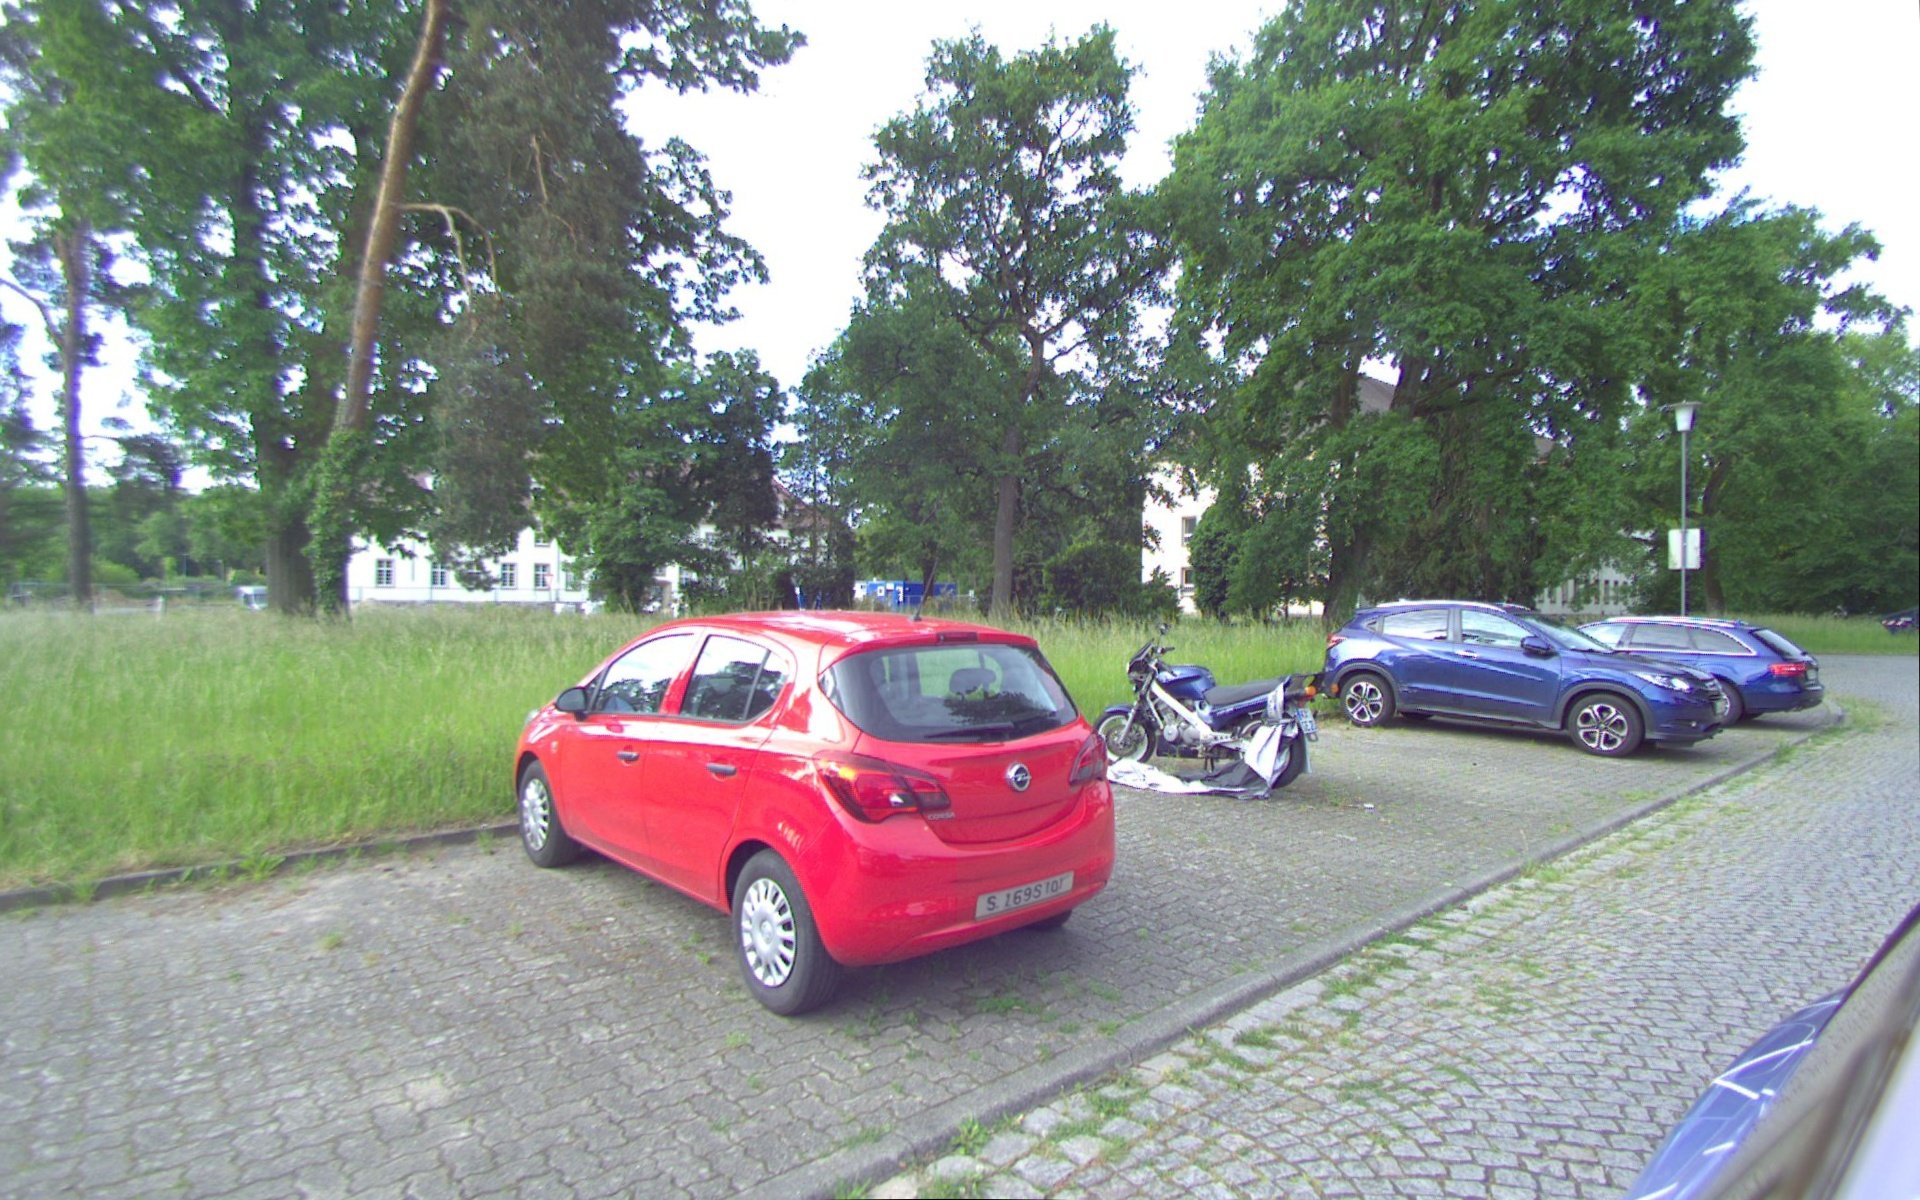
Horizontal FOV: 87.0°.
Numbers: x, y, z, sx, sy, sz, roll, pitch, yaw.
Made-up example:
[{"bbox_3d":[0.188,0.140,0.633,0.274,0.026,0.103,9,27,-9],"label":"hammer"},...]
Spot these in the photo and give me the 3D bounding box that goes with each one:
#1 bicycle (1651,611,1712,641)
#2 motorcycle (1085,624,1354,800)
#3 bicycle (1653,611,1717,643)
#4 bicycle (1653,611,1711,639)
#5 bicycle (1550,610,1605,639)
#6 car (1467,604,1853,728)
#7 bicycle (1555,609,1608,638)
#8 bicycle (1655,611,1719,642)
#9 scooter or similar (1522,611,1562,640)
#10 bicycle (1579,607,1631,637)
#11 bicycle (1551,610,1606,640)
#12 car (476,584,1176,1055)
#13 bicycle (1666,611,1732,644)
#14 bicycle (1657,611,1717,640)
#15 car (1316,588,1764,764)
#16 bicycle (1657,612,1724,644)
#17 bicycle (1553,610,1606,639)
[{"bbox_3d":[29.373,1.059,41.238,1.920,1.185,0.483,-2,-1,27],"label":"bicycle"},{"bbox_3d":[2.108,0.857,8.539,0.558,1.217,2.232,1,1,-43],"label":"motorcycle"},{"bbox_3d":[28.132,1.051,39.298,1.918,1.185,0.484,-1,-1,24],"label":"bicycle"},{"bbox_3d":[30.479,1.063,42.739,1.925,1.185,0.531,-2,-2,33],"label":"bicycle"},{"bbox_3d":[25.318,0.991,41.530,1.838,1.185,0.484,0,-1,23],"label":"bicycle"},{"bbox_3d":[10.196,0.838,15.037,1.892,1.457,4.367,1,1,-39],"label":"car"},{"bbox_3d":[26.217,0.995,42.710,1.836,1.185,0.485,0,-1,20],"label":"bicycle"},{"bbox_3d":[28.539,1.051,39.749,1.918,1.185,0.484,-1,-1,24],"label":"bicycle"},{"bbox_3d":[23.752,1.035,41.312,0.406,1.185,1.306,0,-2,-42],"label":"scooter or similar"},{"bbox_3d":[28.181,0.949,44.229,1.851,1.185,0.481,2,1,40],"label":"bicycle"},{"bbox_3d":[25.036,1.014,41.004,1.838,1.185,0.484,0,-1,23],"label":"bicycle"},{"bbox_3d":[-1.006,0.707,5.393,1.754,1.515,3.928,1,1,-43],"label":"car"},{"bbox_3d":[27.876,1.041,38.218,1.916,1.185,0.484,-1,-1,22],"label":"bicycle"},{"bbox_3d":[29.866,1.057,41.590,1.920,1.185,0.483,-2,-1,27],"label":"bicycle"},{"bbox_3d":[6.668,0.721,11.997,1.855,1.643,4.250,1,1,-43],"label":"car"},{"bbox_3d":[27.308,1.044,37.855,1.916,1.185,0.484,-1,-1,22],"label":"bicycle"},{"bbox_3d":[25.753,0.993,42.095,1.842,1.185,0.483,0,-1,28],"label":"bicycle"}]
